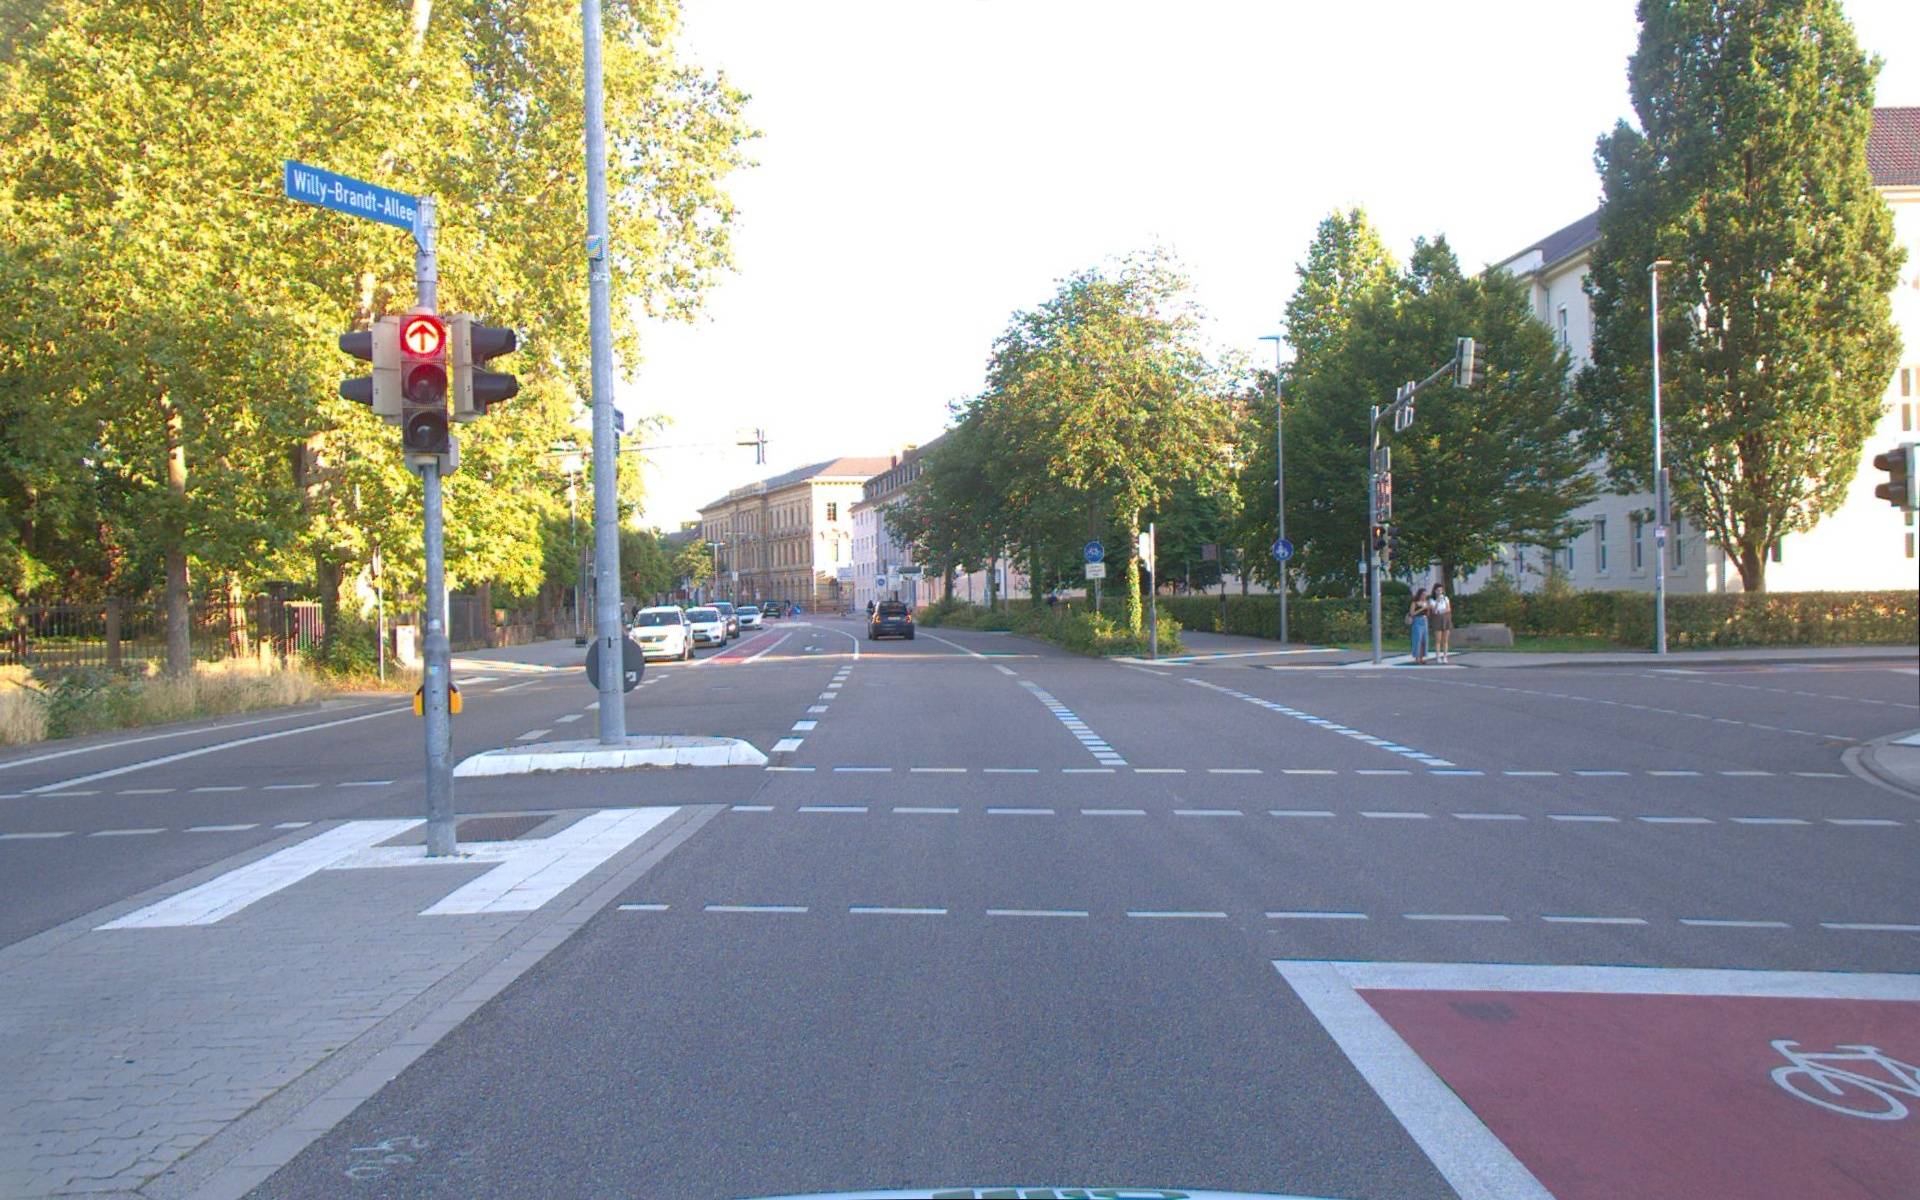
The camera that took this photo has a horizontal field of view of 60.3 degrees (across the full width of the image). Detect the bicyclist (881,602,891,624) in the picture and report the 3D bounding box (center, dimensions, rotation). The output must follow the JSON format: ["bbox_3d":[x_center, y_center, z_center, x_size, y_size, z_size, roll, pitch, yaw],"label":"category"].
[{"bbox_3d":[-5.095,0.868,113.761,0.639,1.501,0.940,1,0,-4],"label":"bicyclist"}]

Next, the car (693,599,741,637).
[{"bbox_3d":[-11.394,0.814,77.768,1.879,1.653,4.634,-3,0,-5],"label":"car"}]

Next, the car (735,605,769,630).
[{"bbox_3d":[-12.959,1.068,103.314,1.879,1.442,4.765,-3,0,-5],"label":"car"}]

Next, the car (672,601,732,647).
[{"bbox_3d":[-9.943,0.906,64.079,1.879,1.611,4.669,-3,0,-5],"label":"car"}]

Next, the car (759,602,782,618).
[{"bbox_3d":[-19.453,1.025,169.721,1.882,1.442,4.757,-3,0,-11],"label":"car"}]

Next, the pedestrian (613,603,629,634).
[{"bbox_3d":[-17.988,0.991,87.866,0.667,1.650,0.688,-1,0,-1],"label":"pedestrian"}]

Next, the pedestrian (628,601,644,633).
[{"bbox_3d":[-17.192,0.897,87.685,0.667,1.650,0.688,-1,0,-1],"label":"pedestrian"}]

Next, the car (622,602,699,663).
[{"bbox_3d":[-9.293,0.975,51.625,1.879,1.725,4.422,-3,0,-5],"label":"car"}]

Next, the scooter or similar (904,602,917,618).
[{"bbox_3d":[-4.390,0.911,145.261,0.619,1.360,2.391,-1,0,-14],"label":"scooter or similar"}]

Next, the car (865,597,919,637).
[{"bbox_3d":[-2.755,0.660,66.101,1.832,1.536,3.994,-1,0,-7],"label":"car"}]

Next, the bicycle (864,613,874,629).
[{"bbox_3d":[-6.189,1.420,112.686,0.639,1.033,2.196,1,0,-3],"label":"bicycle"}]

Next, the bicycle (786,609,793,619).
[{"bbox_3d":[-18.000,1.430,174.577,0.640,1.033,2.192,1,0,-10],"label":"bicycle"}]

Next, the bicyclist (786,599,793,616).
[{"bbox_3d":[-18.045,0.795,174.884,0.640,1.727,0.954,1,-1,-11],"label":"bicyclist"}]

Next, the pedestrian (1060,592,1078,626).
[{"bbox_3d":[5.824,0.469,88.594,0.756,1.769,0.805,-1,0,-10],"label":"pedestrian"}]

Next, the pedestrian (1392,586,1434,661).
[{"bbox_3d":[10.135,0.519,37.003,0.667,1.650,0.845,-1,0,-1],"label":"pedestrian"}]

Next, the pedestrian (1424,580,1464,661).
[{"bbox_3d":[10.833,0.442,37.032,0.667,1.784,0.688,-1,0,-1],"label":"pedestrian"}]

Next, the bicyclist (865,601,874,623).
[{"bbox_3d":[-6.170,0.794,112.661,0.639,1.471,0.879,1,0,-3],"label":"bicyclist"}]
